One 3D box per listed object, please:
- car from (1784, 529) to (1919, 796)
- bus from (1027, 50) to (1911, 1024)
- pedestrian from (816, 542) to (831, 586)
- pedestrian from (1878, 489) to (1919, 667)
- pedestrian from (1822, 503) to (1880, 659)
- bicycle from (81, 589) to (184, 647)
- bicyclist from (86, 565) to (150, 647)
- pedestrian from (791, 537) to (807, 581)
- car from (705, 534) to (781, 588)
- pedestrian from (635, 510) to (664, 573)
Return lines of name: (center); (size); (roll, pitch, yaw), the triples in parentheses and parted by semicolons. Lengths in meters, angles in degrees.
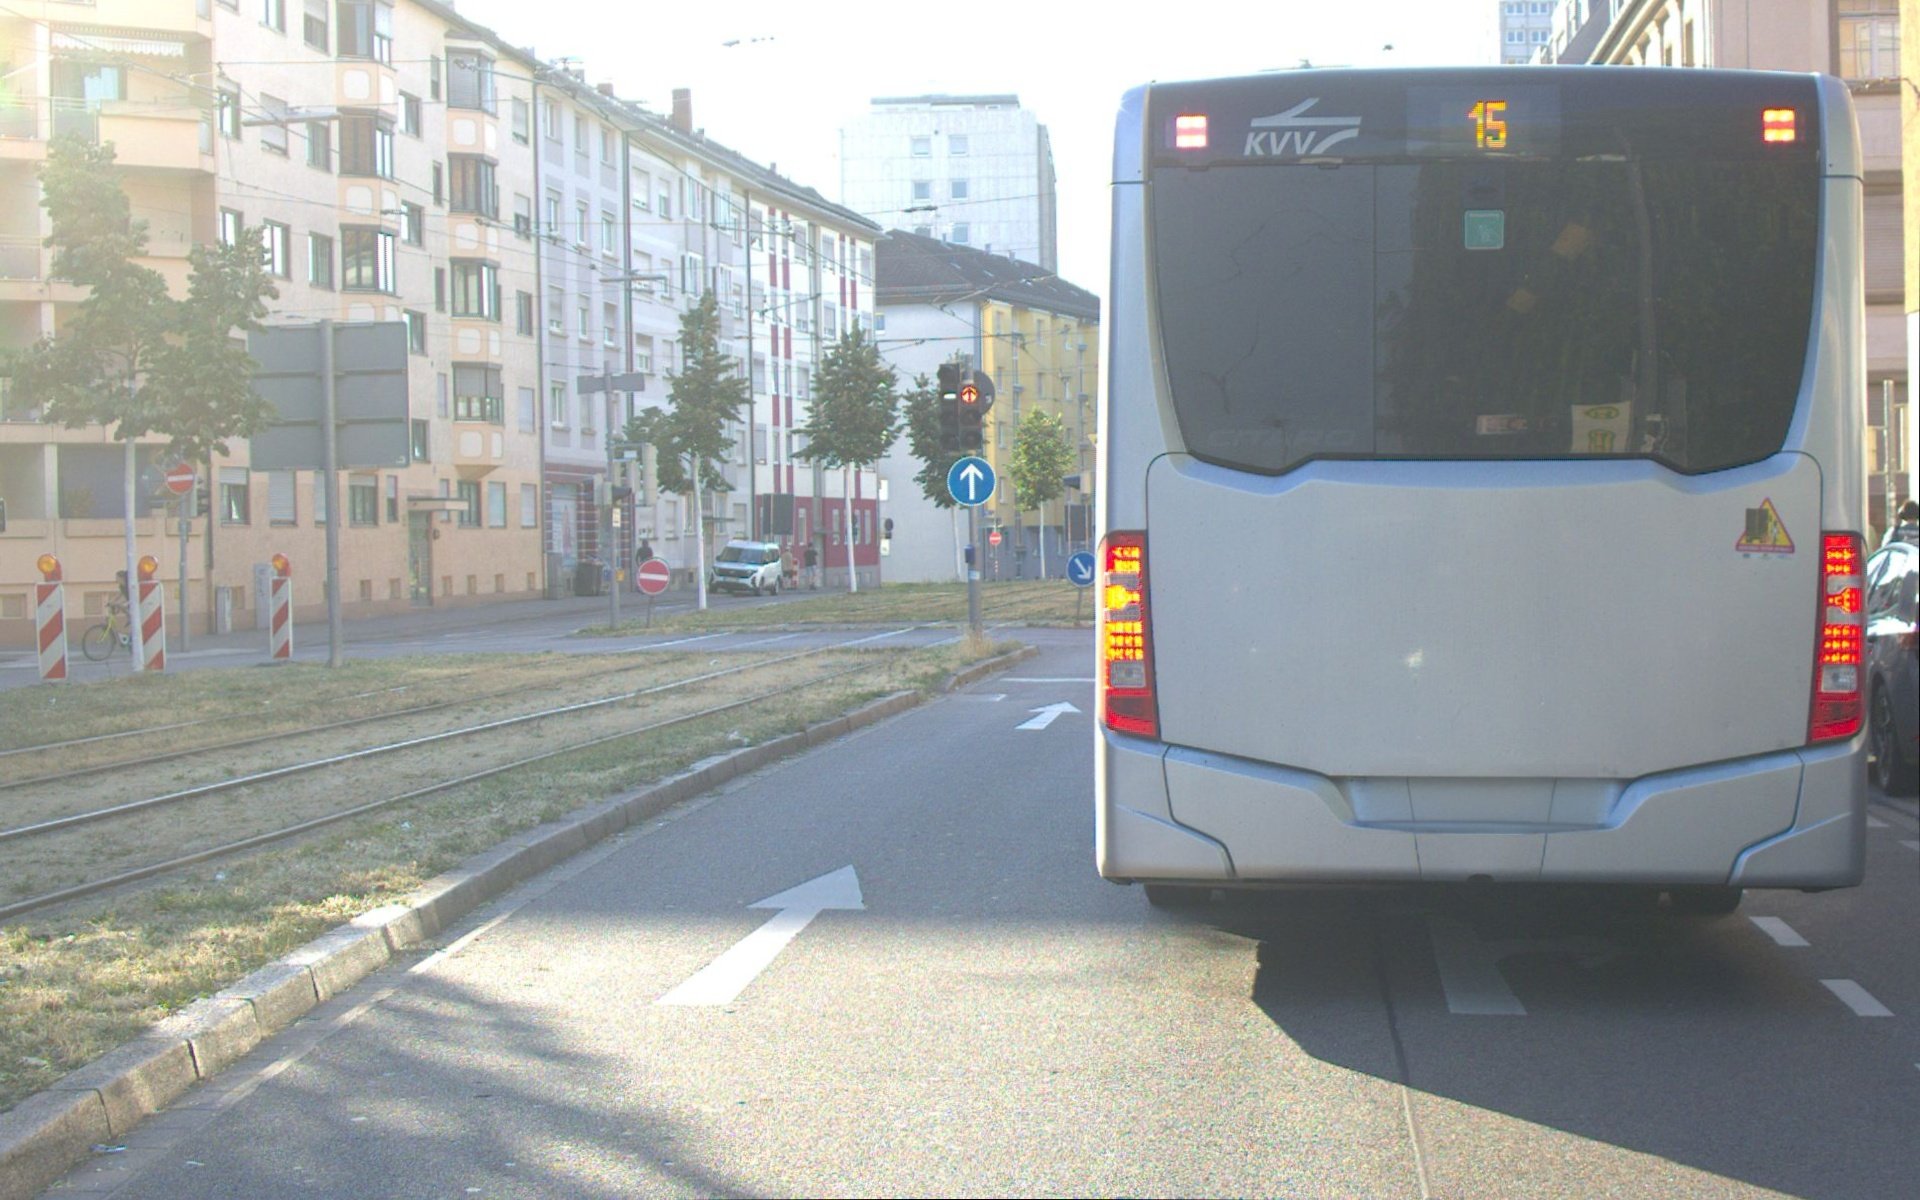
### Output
car: (6.466, 0.307, 21.822); (1.839, 1.531, 4.229); (-1, 1, 6)
bus: (2.038, -0.287, 15.293); (2.739, 3.045, 8.852); (1, 1, 6)
pedestrian: (-5.206, -1.365, 131.040); (0.495, 1.652, 0.408); (-1, 1, 7)
pedestrian: (9.567, -0.225, 34.562); (0.547, 1.778, 0.449); (-1, 1, 6)
pedestrian: (10.244, -0.223, 39.527); (0.547, 1.778, 0.449); (-1, 1, 23)
bicycle: (-14.889, 0.313, 61.882); (0.529, 0.980, 1.879); (-1, 1, 36)
bicyclist: (-15.093, 0.101, 61.647); (0.529, 1.442, 0.963); (-1, 1, 37)
pedestrian: (-6.144, -1.554, 130.985); (0.495, 1.652, 0.408); (-1, 1, 7)
car: (-7.403, -1.349, 117.630); (1.812, 1.791, 4.244); (-1, 1, 7)
pedestrian: (-10.014, -1.887, 110.784); (0.786, 2.007, 0.891); (-1, 1, 3)
